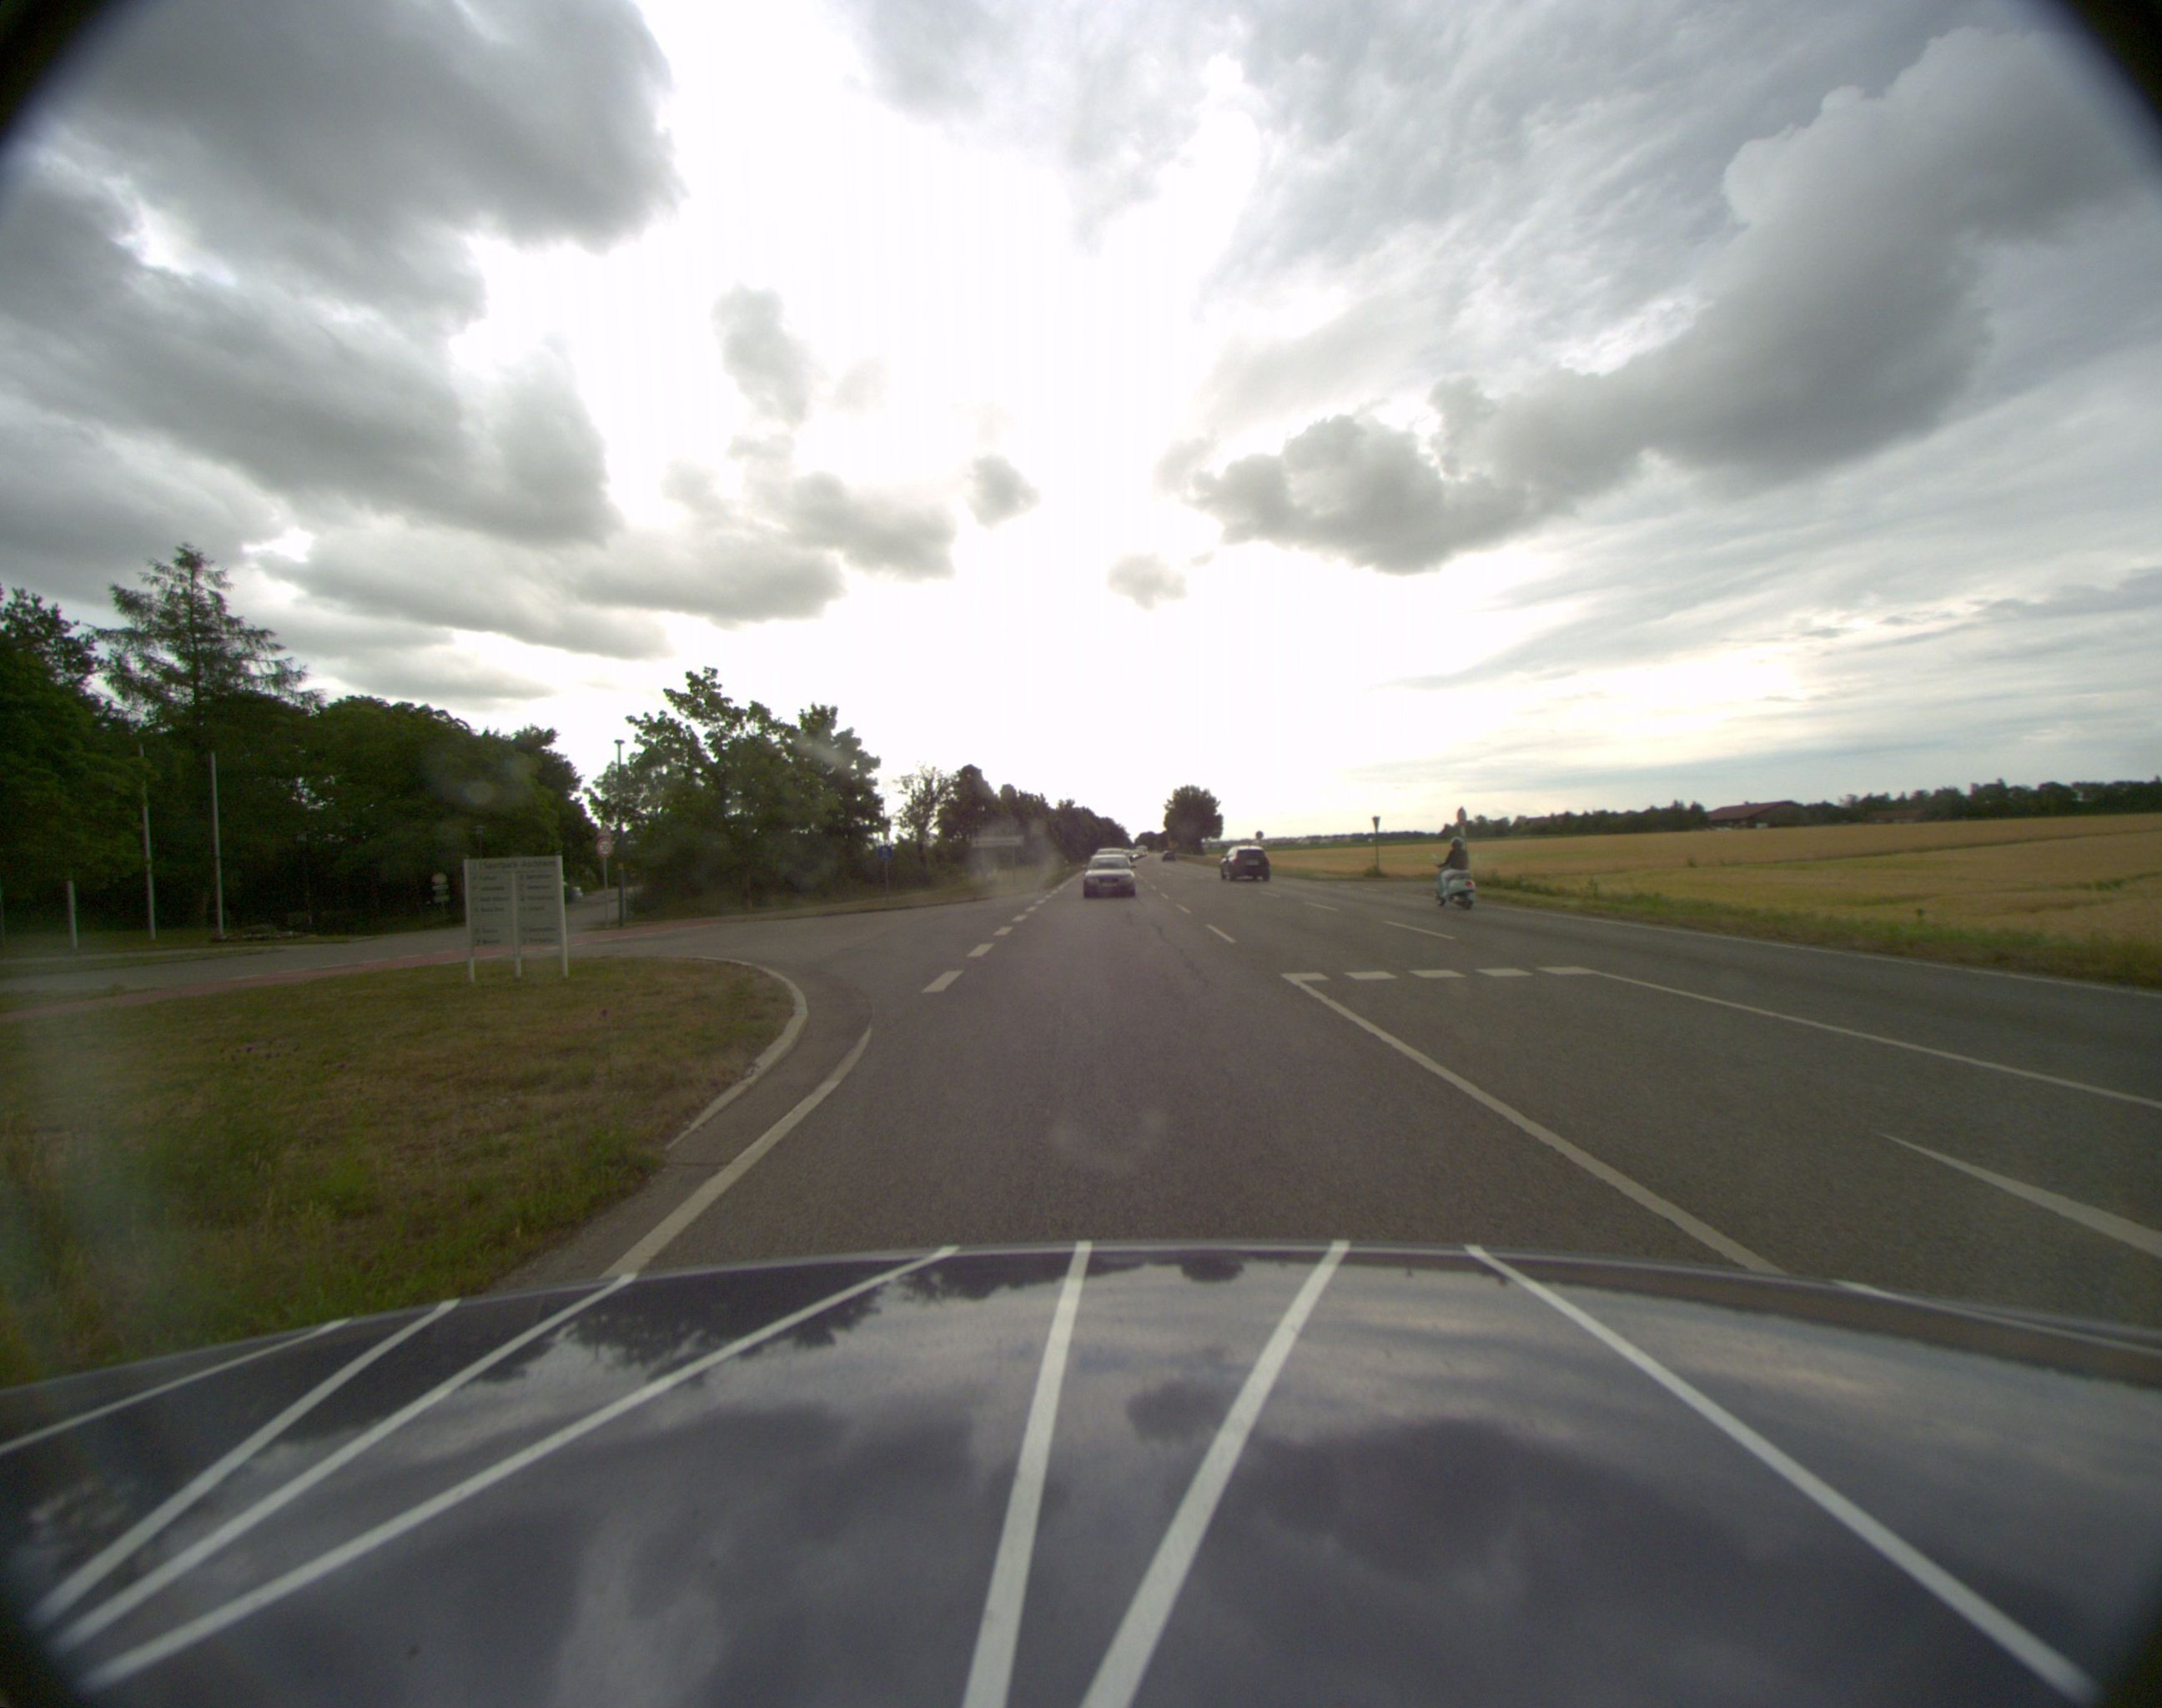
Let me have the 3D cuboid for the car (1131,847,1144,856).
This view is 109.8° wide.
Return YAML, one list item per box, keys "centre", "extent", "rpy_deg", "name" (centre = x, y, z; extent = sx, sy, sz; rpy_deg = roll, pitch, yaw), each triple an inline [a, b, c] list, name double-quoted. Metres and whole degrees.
- centre: [10.629, -0.527, 143.377]
  extent: [1.953, 1.573, 4.139]
  rpy_deg: [-2, 0, 10]
  name: "car"

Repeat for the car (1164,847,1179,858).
- centre: [12.552, -0.262, 105.368]
  extent: [1.998, 1.501, 4.001]
  rpy_deg: [0, 1, 5]
  name: "car"

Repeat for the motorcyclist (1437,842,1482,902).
- centre: [8.982, 0.408, 18.058]
  extent: [0.641, 1.376, 0.809]
  rpy_deg: [-2, 1, -1]
  name: "motorcyclist"

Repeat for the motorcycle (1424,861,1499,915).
- centre: [8.988, 0.776, 18.056]
  extent: [0.727, 1.142, 2.024]
  rpy_deg: [-2, 1, 0]
  name: "motorcycle"

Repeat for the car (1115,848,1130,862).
- centre: [5.006, 0.069, 91.276]
  extent: [1.793, 1.573, 4.368]
  rpy_deg: [-2, 0, 4]
  name: "car"

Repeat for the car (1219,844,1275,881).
- centre: [8.151, 0.356, 37.704]
  extent: [1.951, 1.684, 4.446]
  rpy_deg: [-1, 1, 2]
  name: "car"

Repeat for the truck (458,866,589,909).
- centre: [-46.889, 2.761, 64.289]
  extent: [8.383, 3.092, 3.067]
  rpy_deg: [-2, 1, -26]
  name: "truck"

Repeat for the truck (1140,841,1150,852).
- centre: [16.284, -1.963, 193.854]
  extent: [2.319, 2.749, 7.674]
  rpy_deg: [-2, 1, 5]
  name: "truck"

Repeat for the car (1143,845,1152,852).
- centre: [15.483, -1.226, 176.080]
  extent: [1.792, 1.531, 4.139]
  rpy_deg: [-2, 0, 10]
  name: "car"

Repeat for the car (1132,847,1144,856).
- centre: [10.314, -0.533, 136.821]
  extent: [1.792, 1.573, 4.139]
  rpy_deg: [-2, 0, 8]
  name: "car"

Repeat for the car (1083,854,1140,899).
- centre: [1.081, 0.734, 26.975]
  extent: [1.793, 1.415, 4.367]
  rpy_deg: [-2, 0, 2]
  name: "car"

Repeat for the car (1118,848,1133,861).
- centre: [5.910, 0.037, 100.445]
  extent: [1.793, 1.573, 4.188]
  rpy_deg: [-2, 0, 4]
  name: "car"
